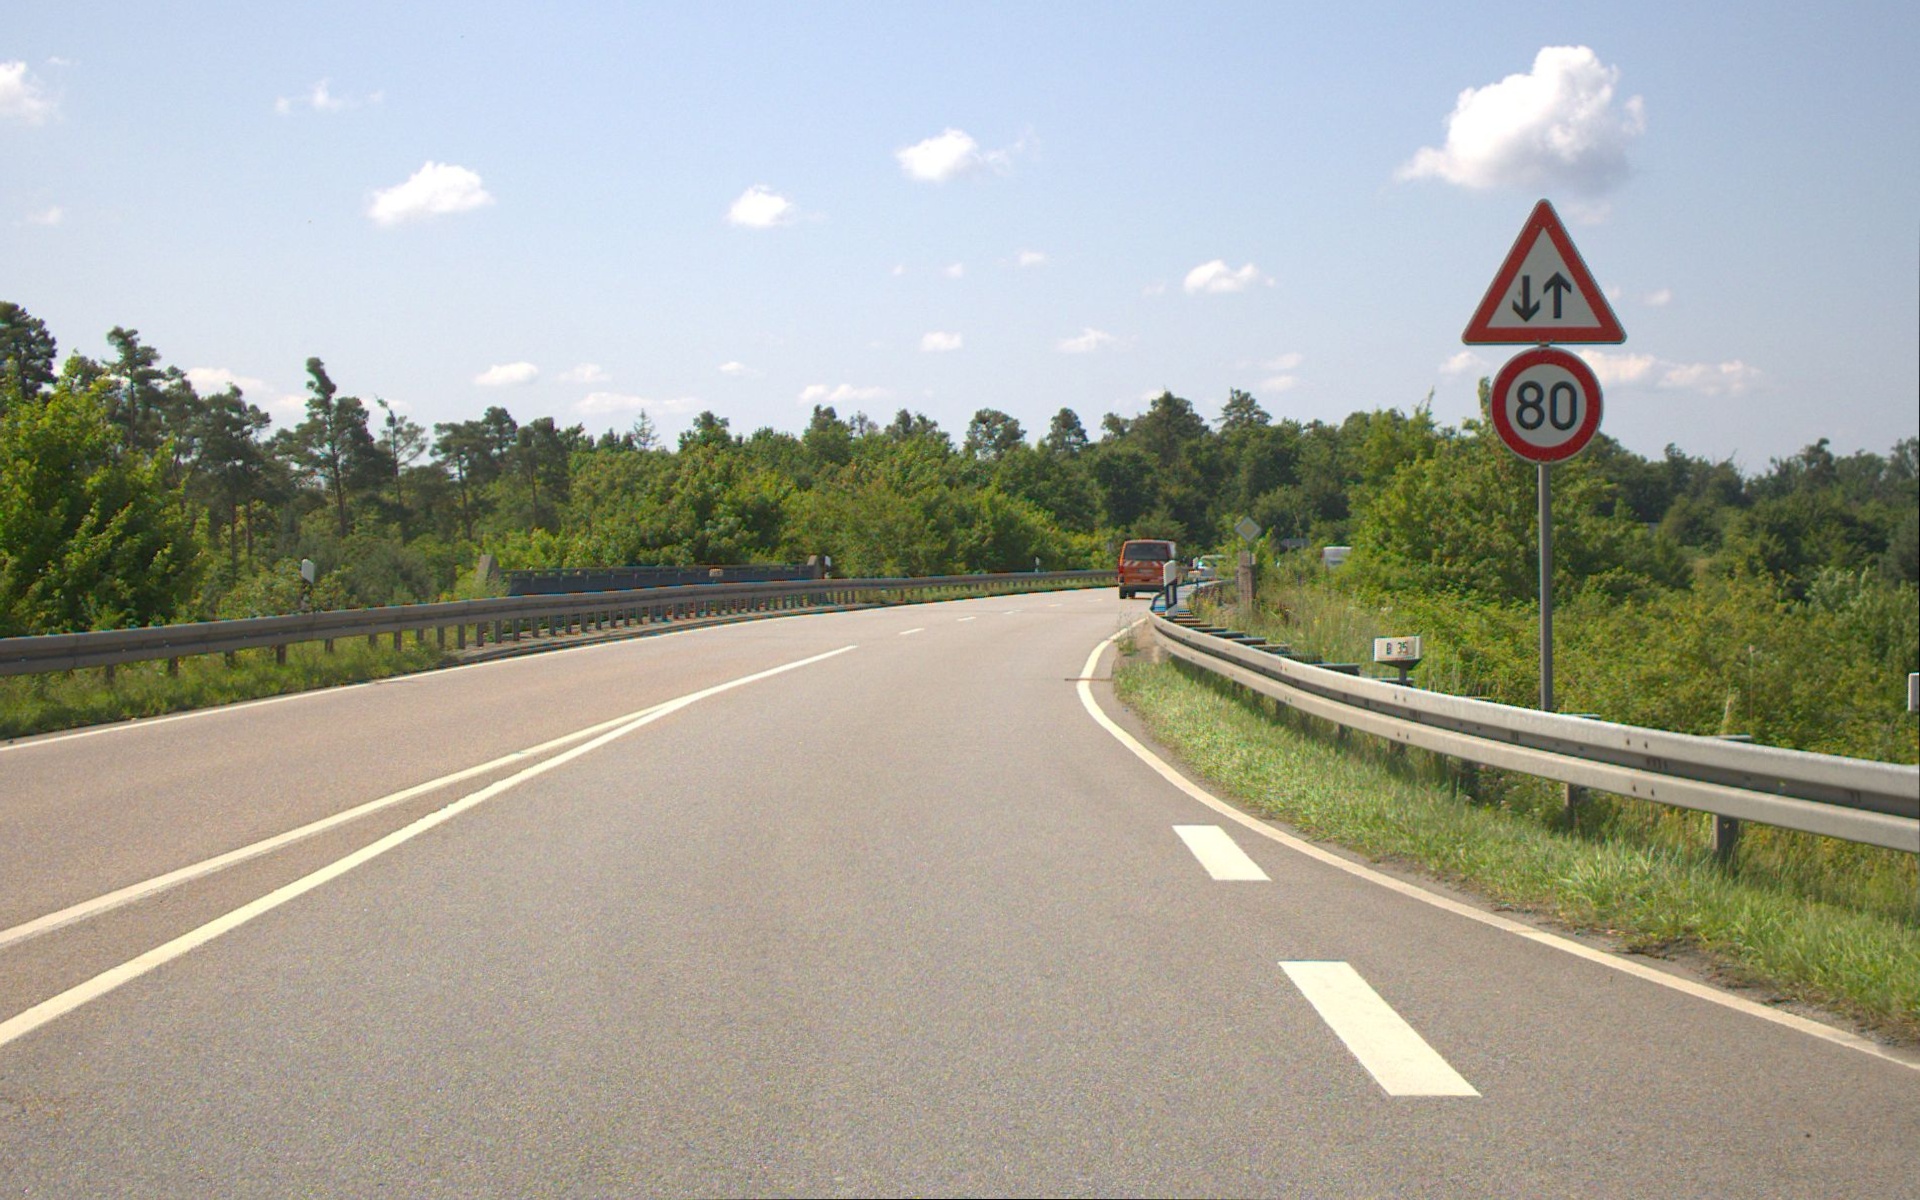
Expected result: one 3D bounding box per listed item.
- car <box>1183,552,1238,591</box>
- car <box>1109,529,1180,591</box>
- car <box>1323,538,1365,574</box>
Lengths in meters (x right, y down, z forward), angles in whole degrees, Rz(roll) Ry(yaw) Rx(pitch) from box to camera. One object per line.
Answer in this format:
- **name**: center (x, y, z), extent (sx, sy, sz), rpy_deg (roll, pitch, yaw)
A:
- **car**: center (9.955, -1.125, 136.223), extent (2.008, 1.488, 4.238), rpy_deg (1, 0, 6)
- **car**: center (6.175, -1.304, 114.542), extent (2.078, 1.986, 5.110), rpy_deg (1, 0, 6)
- **car**: center (21.671, -2.507, 193.828), extent (2.185, 1.948, 5.802), rpy_deg (1, 1, 8)
